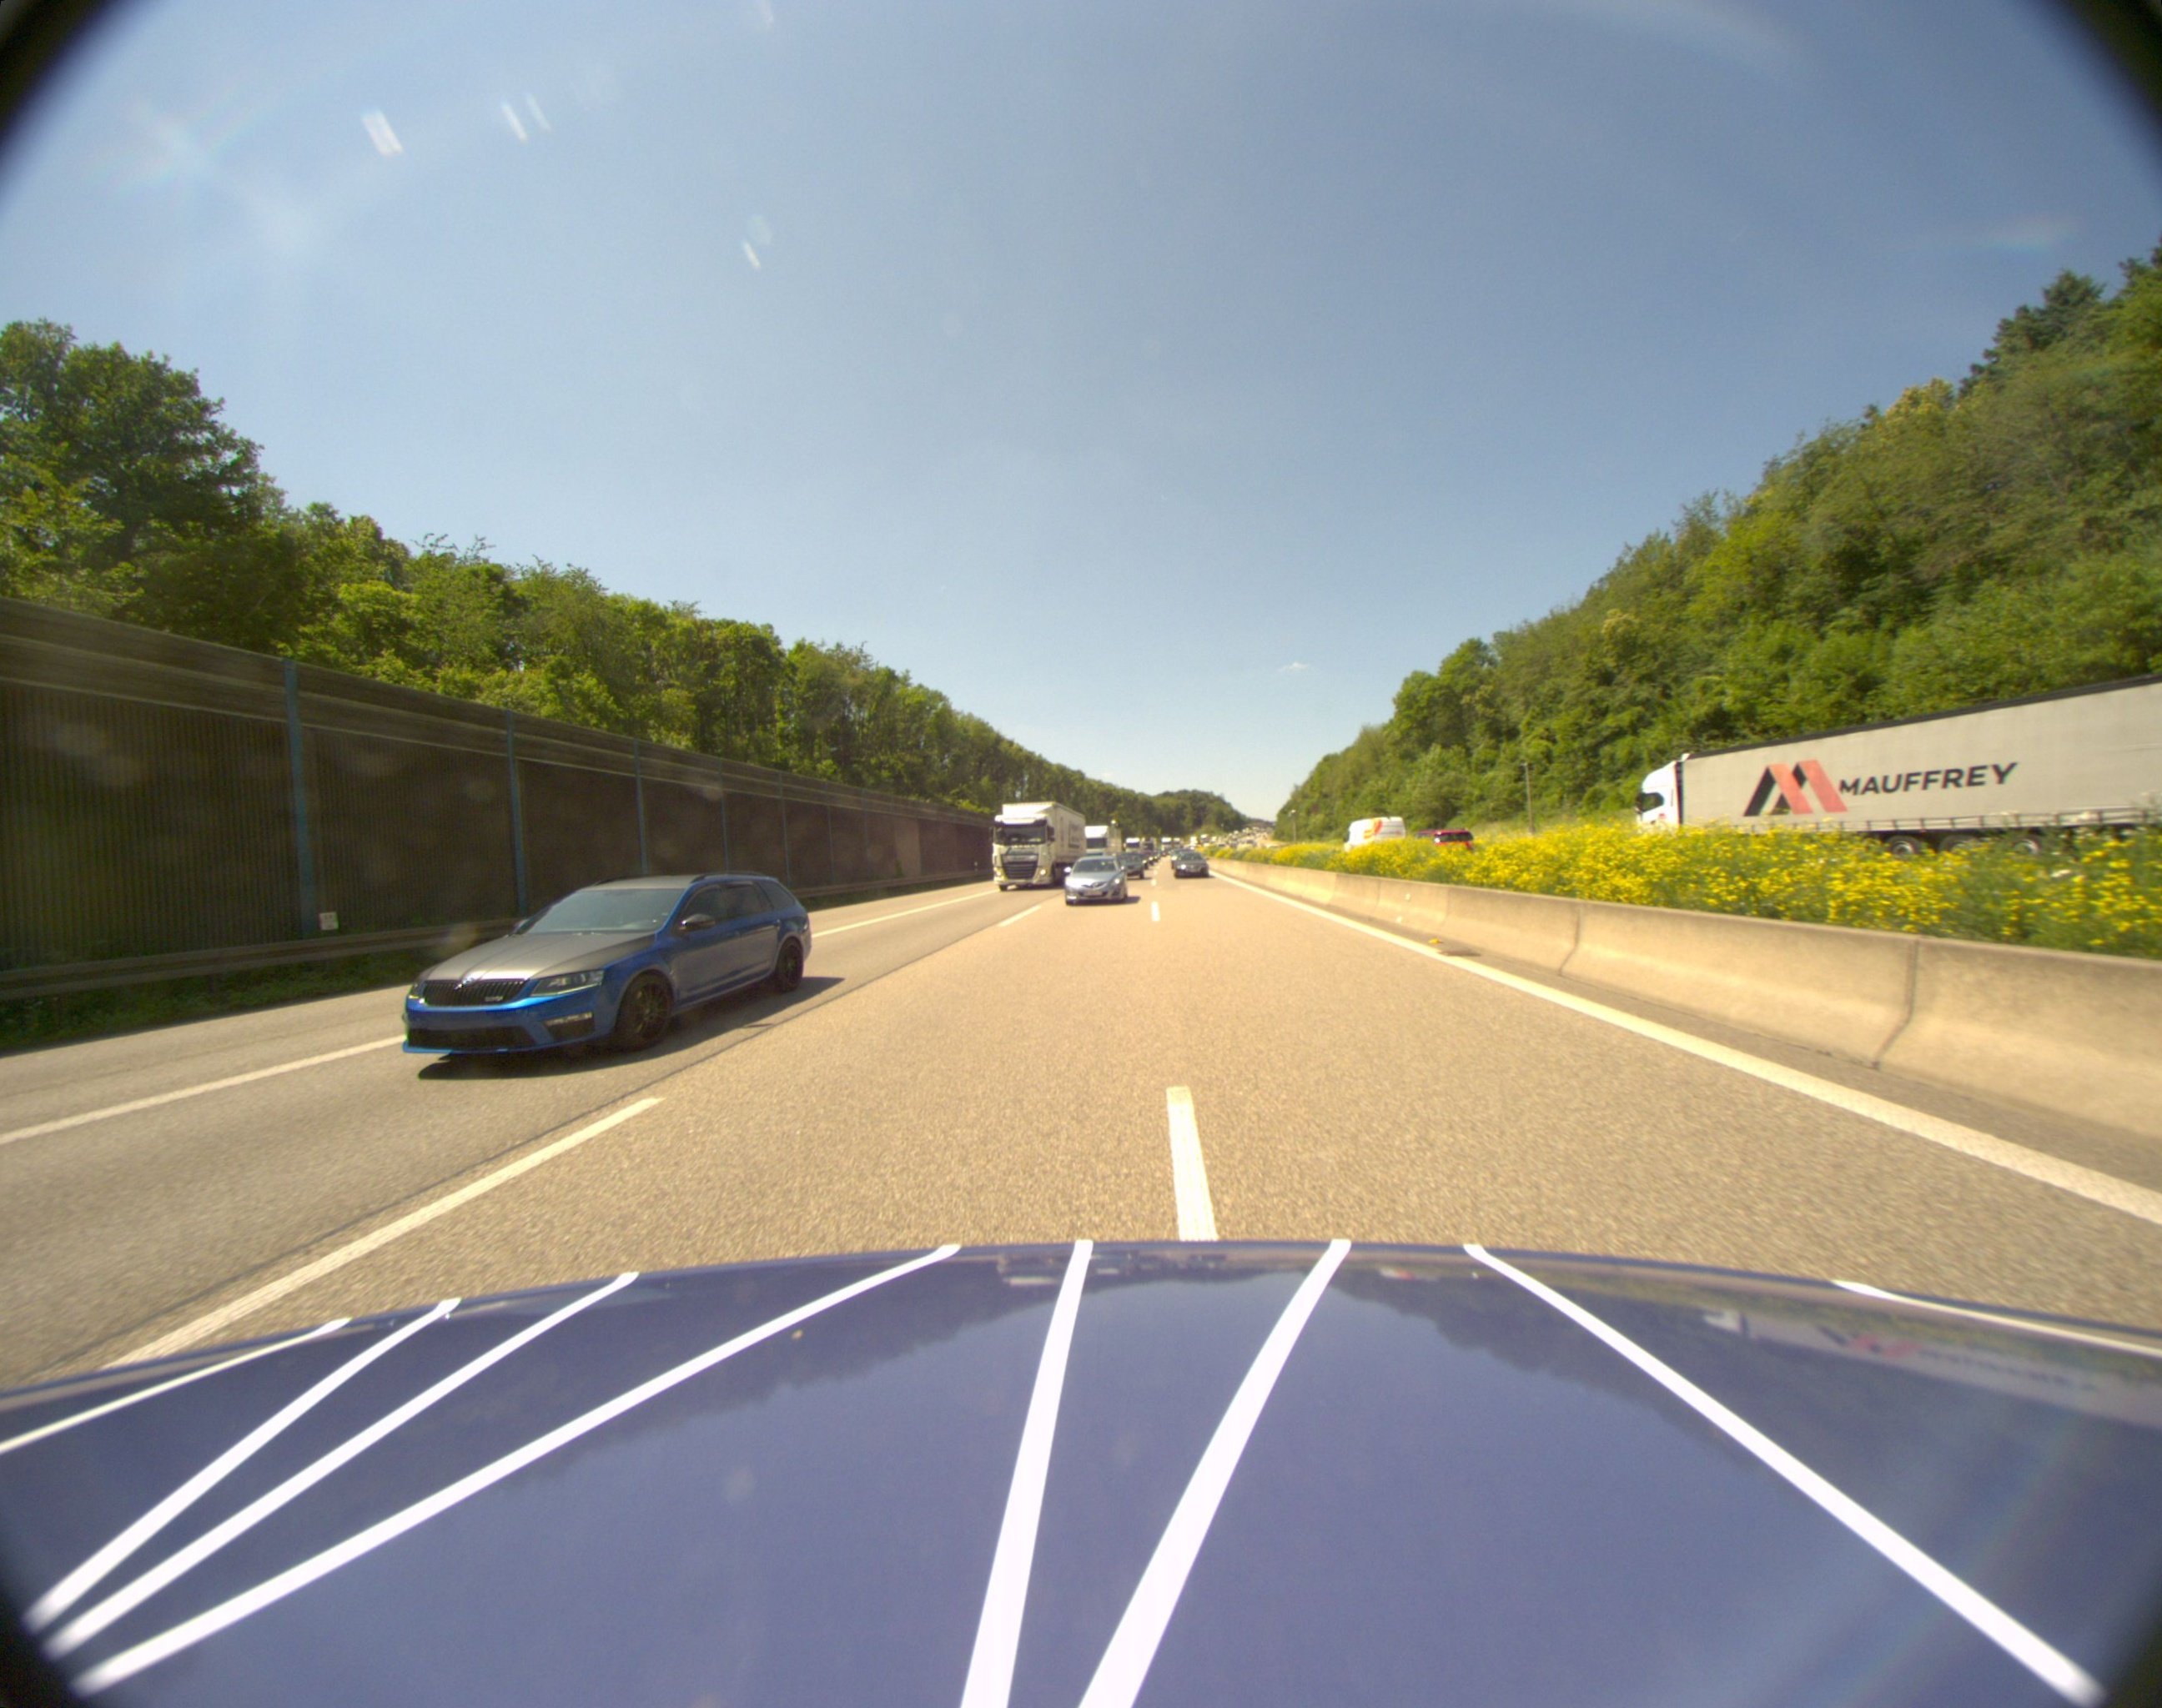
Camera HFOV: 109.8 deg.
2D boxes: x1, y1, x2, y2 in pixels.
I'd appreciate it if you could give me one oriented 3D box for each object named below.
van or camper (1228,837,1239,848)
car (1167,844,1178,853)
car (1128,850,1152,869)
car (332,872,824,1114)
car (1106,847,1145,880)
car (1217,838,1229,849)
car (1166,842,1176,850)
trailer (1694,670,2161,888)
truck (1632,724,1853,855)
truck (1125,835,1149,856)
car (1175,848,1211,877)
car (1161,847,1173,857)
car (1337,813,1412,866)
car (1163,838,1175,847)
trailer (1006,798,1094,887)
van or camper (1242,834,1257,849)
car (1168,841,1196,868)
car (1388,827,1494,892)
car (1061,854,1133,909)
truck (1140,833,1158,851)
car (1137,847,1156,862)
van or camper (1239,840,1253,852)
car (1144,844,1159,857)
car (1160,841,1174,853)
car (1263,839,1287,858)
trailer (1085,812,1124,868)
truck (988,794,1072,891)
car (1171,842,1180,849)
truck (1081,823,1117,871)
[{"bbox_3d":[41.958,-3.047,209.558,2.262,2.882,6.559,-2,1,7],"label":"van or camper"},{"bbox_3d":[19.198,-1.227,159.142,1.997,1.728,4.001,-2,2,8],"label":"car"},{"bbox_3d":[5.051,0.461,64.803,1.801,1.521,3.797,-3,0,7],"label":"car"},{"bbox_3d":[-4.378,1.064,7.688,1.654,1.474,4.482,-2,2,5],"label":"car"},{"bbox_3d":[2.543,0.495,42.873,1.886,1.696,4.086,-2,0,7],"label":"car"},{"bbox_3d":[35.149,-2.579,188.137,2.205,2.725,5.749,-2,0,6],"label":"car"},{"bbox_3d":[21.330,-1.939,180.576,1.997,1.728,4.002,-2,2,12],"label":"car"},{"bbox_3d":[22.841,-1.679,20.524,2.932,4.208,13.065,-2,2,5],"label":"trailer"},{"bbox_3d":[23.425,-2.143,27.415,2.970,4.084,6.089,-2,2,5],"label":"truck"},{"bbox_3d":[9.723,-1.573,131.781,3.260,3.337,6.866,-2,2,10],"label":"truck"},{"bbox_3d":[6.126,0.439,42.012,1.720,1.470,4.001,-2,1,5],"label":"car"},{"bbox_3d":[15.870,-0.334,140.396,1.997,1.728,4.002,-2,2,10],"label":"car"},{"bbox_3d":[17.506,-0.845,45.794,2.073,2.879,7.464,-2,0,5],"label":"car"},{"bbox_3d":[26.359,-3.593,228.247,2.695,2.468,6.589,-2,2,13],"label":"car"},{"bbox_3d":[-1.416,-0.574,43.630,2.791,4.180,13.249,-3,0,7],"label":"trailer"},{"bbox_3d":[39.920,-3.089,180.130,2.545,3.299,9.004,-2,2,6],"label":"van or camper"},{"bbox_3d":[8.262,0.015,62.378,1.998,2.002,4.000,-2,2,5],"label":"car"},{"bbox_3d":[12.304,0.108,26.266,1.998,2.002,4.000,-2,2,5],"label":"car"},{"bbox_3d":[0.593,0.791,23.866,1.886,1.459,4.249,-2,0,5],"label":"car"},{"bbox_3d":[14.645,-2.614,163.518,3.556,3.695,7.553,-2,2,7],"label":"truck"},{"bbox_3d":[7.008,0.058,80.569,1.801,1.521,3.797,-3,0,7],"label":"car"},{"bbox_3d":[27.185,-1.308,125.503,1.695,2.001,4.214,-2,1,6],"label":"van or camper"},{"bbox_3d":[9.118,-0.467,98.057,1.801,1.521,3.797,-3,0,7],"label":"car"},{"bbox_3d":[13.558,-1.176,119.483,1.997,1.728,4.001,-2,2,8],"label":"car"},{"bbox_3d":[22.058,-0.640,86.477,1.882,2.002,4.000,-2,2,4],"label":"car"},{"bbox_3d":[2.576,-1.469,76.696,2.573,5.012,15.274,-2,2,6],"label":"trailer"},{"bbox_3d":[-2.283,-0.502,36.559,2.791,4.180,5.872,-3,0,7],"label":"truck"},{"bbox_3d":[25.853,-2.283,207.077,1.997,1.728,4.002,-2,2,12],"label":"car"},{"bbox_3d":[1.674,-0.663,68.306,2.541,4.007,6.626,-2,2,6],"label":"truck"}]
